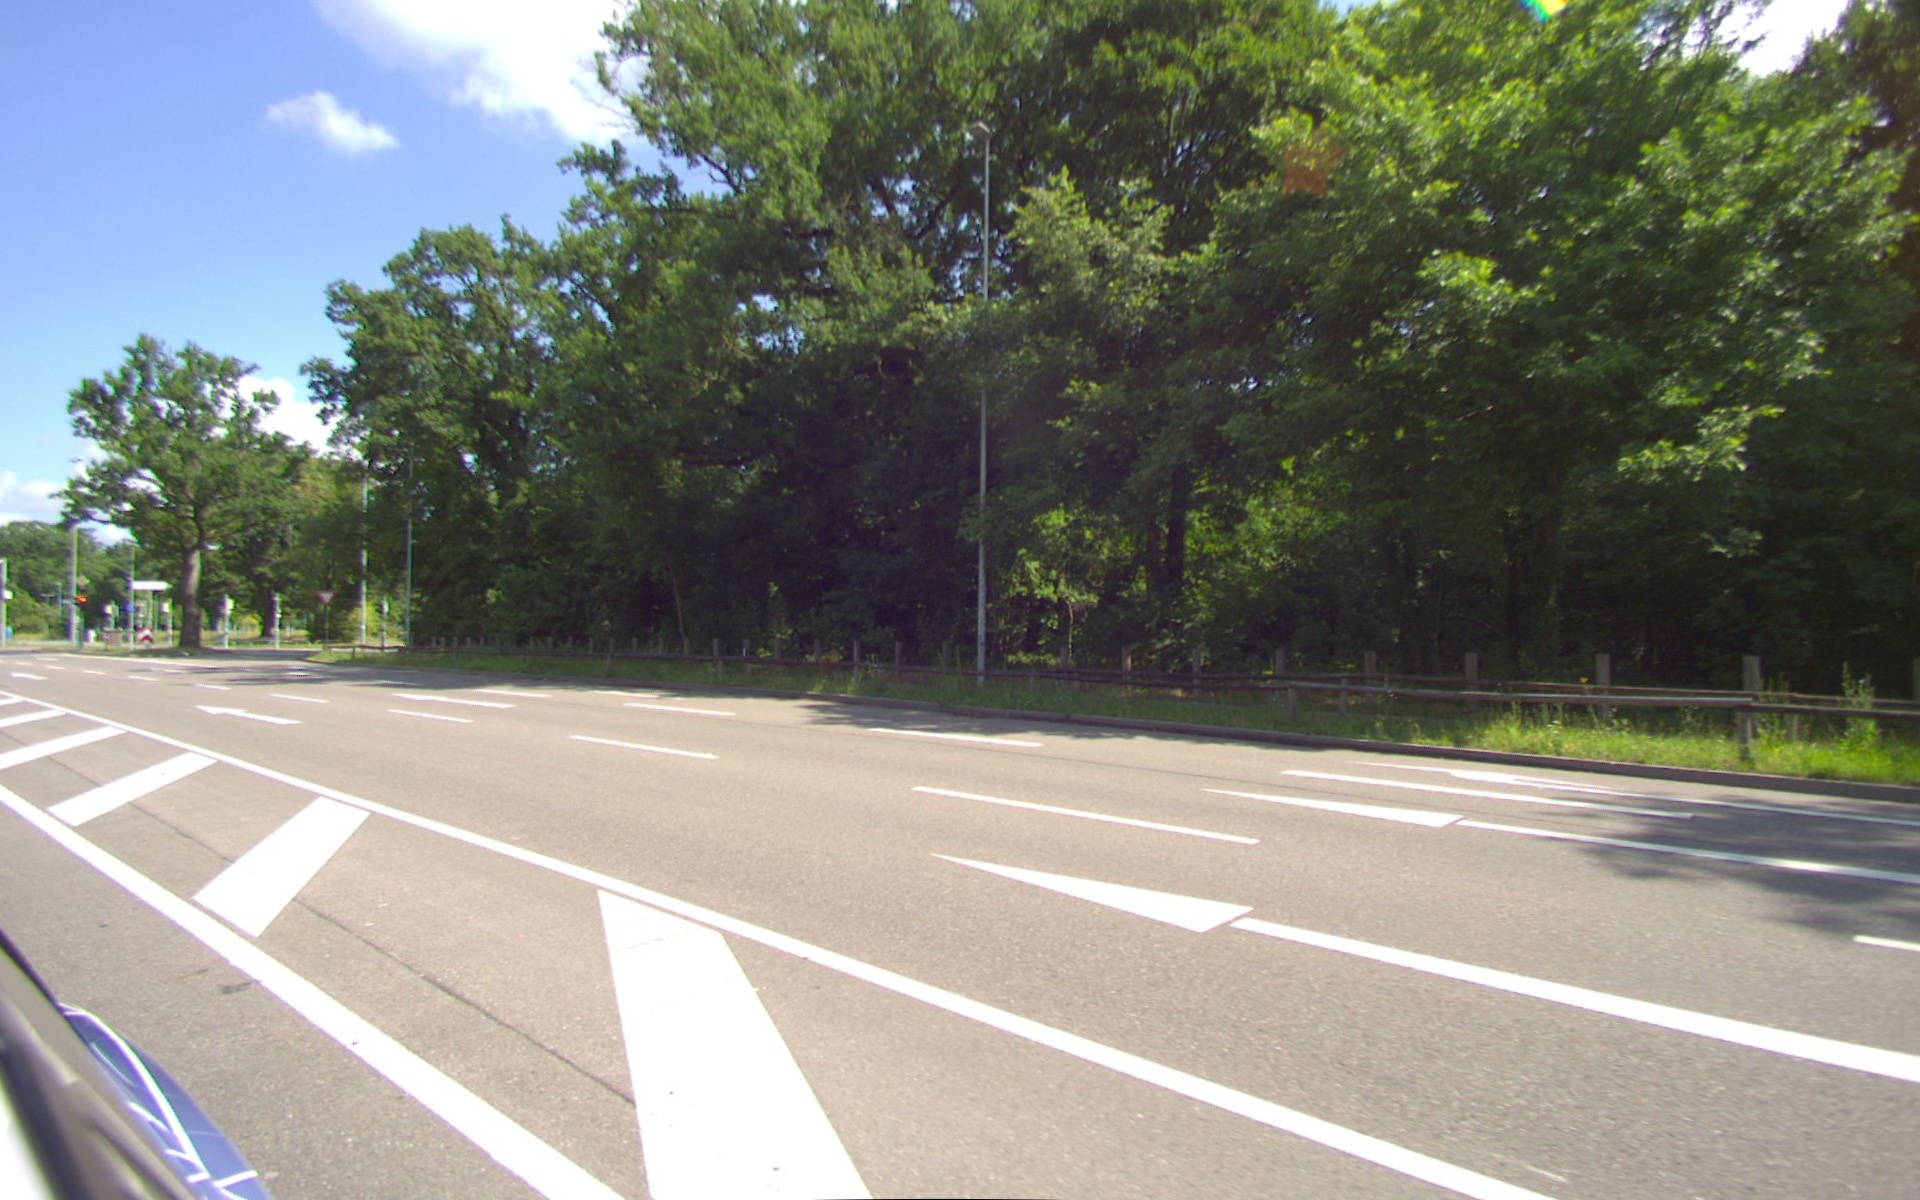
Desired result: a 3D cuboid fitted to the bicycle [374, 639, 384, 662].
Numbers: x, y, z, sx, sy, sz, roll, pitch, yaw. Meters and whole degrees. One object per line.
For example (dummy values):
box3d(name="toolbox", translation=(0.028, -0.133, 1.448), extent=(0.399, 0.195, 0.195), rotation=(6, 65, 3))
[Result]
box3d(name="bicycle", translation=(-30.456, 2.637, 53.036), extent=(0.414, 1.182, 1.233), rotation=(0, -1, -30))
